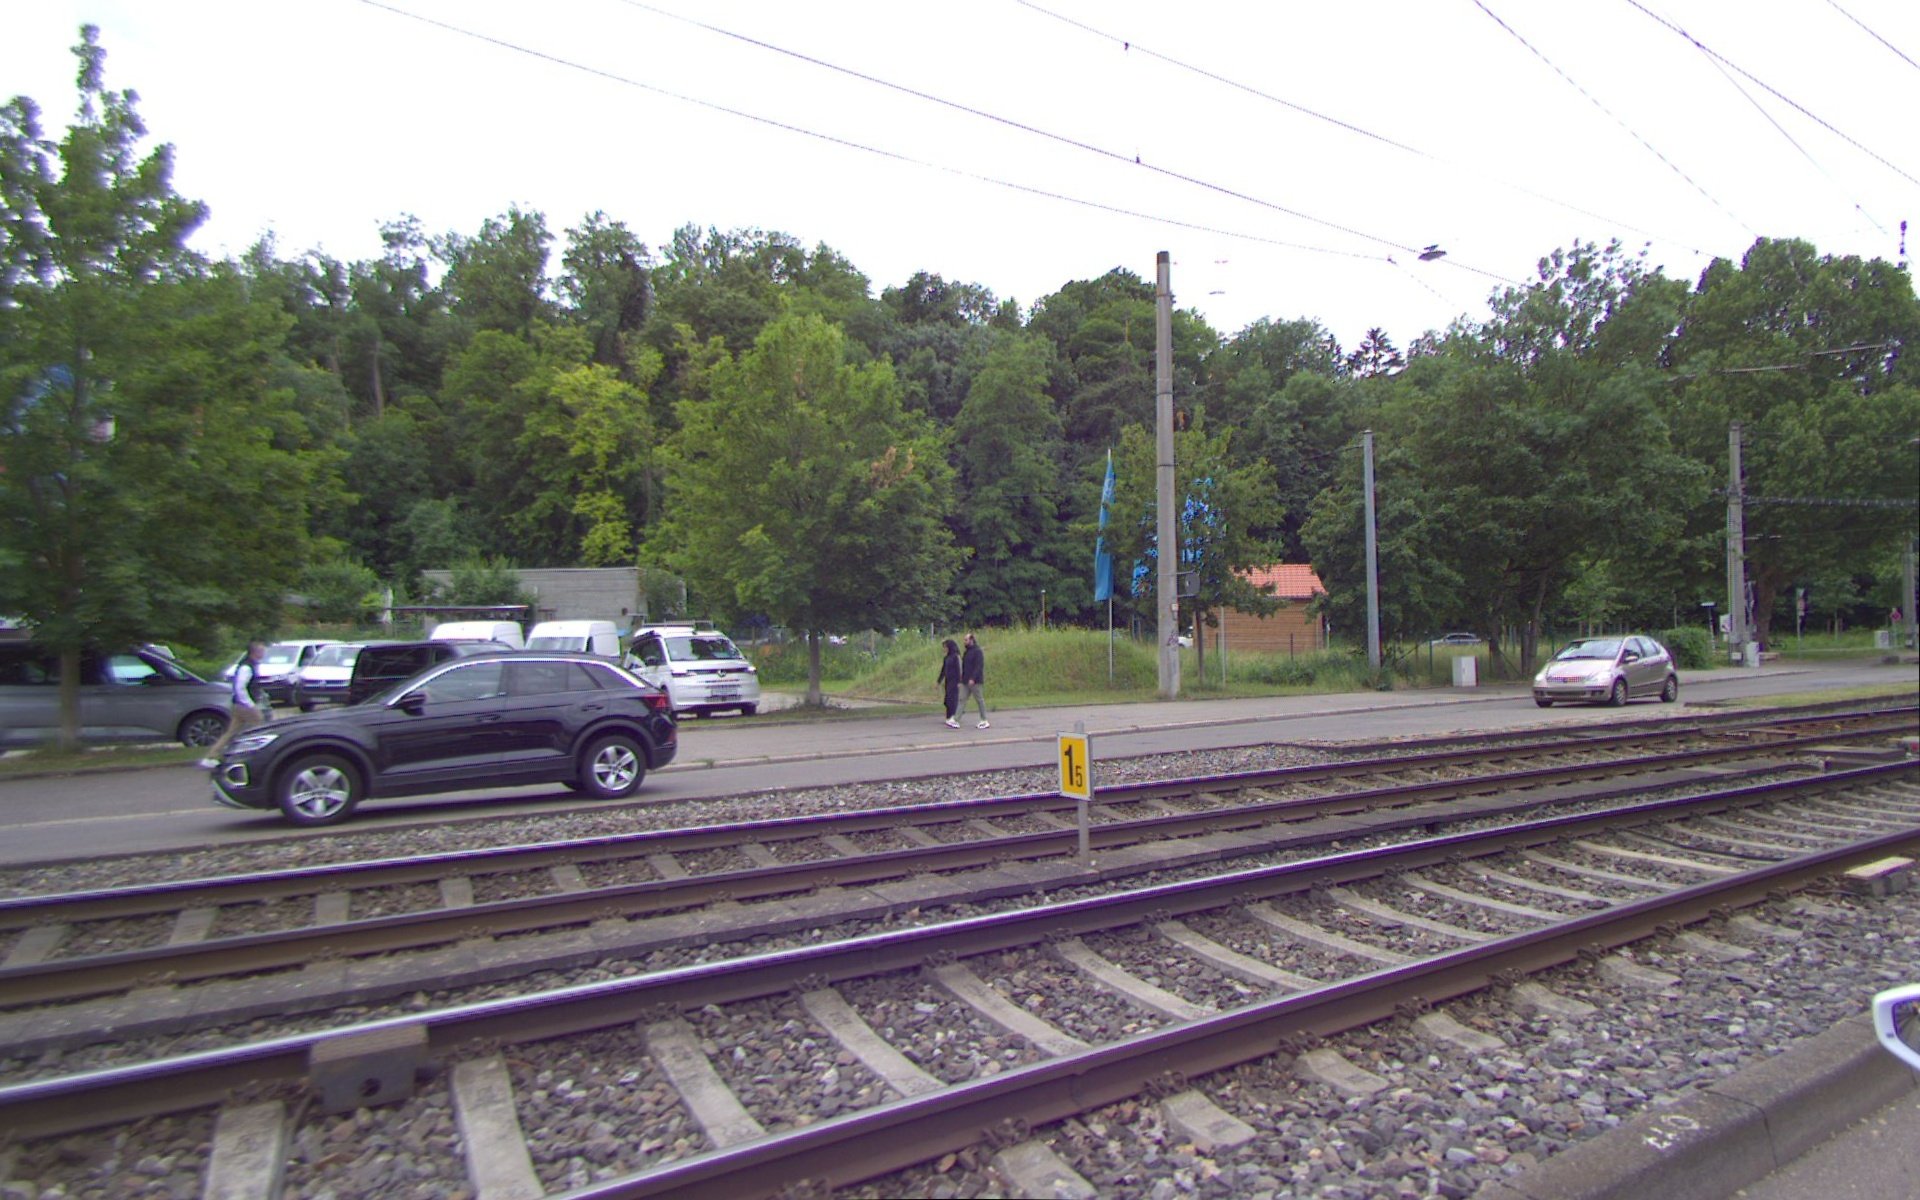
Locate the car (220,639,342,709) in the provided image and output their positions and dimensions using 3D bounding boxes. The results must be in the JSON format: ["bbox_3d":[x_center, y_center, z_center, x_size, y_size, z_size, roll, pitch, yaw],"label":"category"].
[{"bbox_3d":[-21.439,2.285,31.938,1.949,2.040,4.253,0,-3,-16],"label":"car"}]

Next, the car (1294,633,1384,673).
[{"bbox_3d":[17.865,2.486,47.292,3.957,1.772,1.982,1,-3,-33],"label":"car"}]

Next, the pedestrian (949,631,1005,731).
[{"bbox_3d":[0.322,1.521,19.188,0.846,1.837,0.673,0,-1,-31],"label":"pedestrian"}]

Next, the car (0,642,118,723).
[{"bbox_3d":[-25.422,2.169,26.603,4.382,2.039,2.000,-1,-2,-4],"label":"car"}]

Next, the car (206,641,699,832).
[{"bbox_3d":[-5.014,1.266,10.296,4.211,1.551,1.678,1,-6,-34],"label":"car"}]

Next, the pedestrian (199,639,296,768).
[{"bbox_3d":[-9.855,1.391,13.898,1.034,1.678,0.711,1,0,-41],"label":"pedestrian"}]

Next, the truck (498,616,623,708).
[{"bbox_3d":[-12.556,1.932,32.035,2.423,2.621,5.772,0,-3,-8],"label":"truck"}]

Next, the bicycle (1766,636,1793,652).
[{"bbox_3d":[54.862,2.968,67.290,0.662,1.025,1.654,2,-1,10],"label":"bicycle"}]

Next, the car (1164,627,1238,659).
[{"bbox_3d":[15.864,2.833,66.208,4.318,2.040,2.000,0,-2,-2],"label":"car"}]

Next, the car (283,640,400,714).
[{"bbox_3d":[-18.536,2.268,30.303,1.967,2.040,3.988,0,-3,-16],"label":"car"}]

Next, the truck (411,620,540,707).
[{"bbox_3d":[-15.889,2.061,33.290,2.423,2.621,5.067,0,-3,-8],"label":"truck"}]

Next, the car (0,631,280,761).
[{"bbox_3d":[-14.866,1.587,17.406,5.079,2.040,1.981,1,-3,-36],"label":"car"}]

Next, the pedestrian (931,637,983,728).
[{"bbox_3d":[-0.061,1.608,19.810,0.846,1.736,0.625,0,-1,-31],"label":"pedestrian"}]

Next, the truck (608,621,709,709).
[{"bbox_3d":[-9.714,2.077,32.830,2.423,2.621,5.067,0,-3,-8],"label":"truck"}]

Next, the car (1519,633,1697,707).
[{"bbox_3d":[15.105,1.612,23.361,4.211,1.551,1.880,1,-6,-34],"label":"car"}]

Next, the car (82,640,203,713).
[{"bbox_3d":[-24.946,2.258,30.611,4.211,2.040,1.992,-2,-1,38],"label":"car"}]

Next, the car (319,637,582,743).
[{"bbox_3d":[-10.779,1.856,21.320,4.973,2.040,2.167,-2,-3,20],"label":"car"}]

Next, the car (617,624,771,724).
[{"bbox_3d":[-5.924,1.525,21.908,2.140,1.912,5.036,1,-2,-28],"label":"car"}]

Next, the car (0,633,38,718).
[{"bbox_3d":[-25.180,1.835,23.892,4.384,2.039,1.998,0,-2,-7],"label":"car"}]
